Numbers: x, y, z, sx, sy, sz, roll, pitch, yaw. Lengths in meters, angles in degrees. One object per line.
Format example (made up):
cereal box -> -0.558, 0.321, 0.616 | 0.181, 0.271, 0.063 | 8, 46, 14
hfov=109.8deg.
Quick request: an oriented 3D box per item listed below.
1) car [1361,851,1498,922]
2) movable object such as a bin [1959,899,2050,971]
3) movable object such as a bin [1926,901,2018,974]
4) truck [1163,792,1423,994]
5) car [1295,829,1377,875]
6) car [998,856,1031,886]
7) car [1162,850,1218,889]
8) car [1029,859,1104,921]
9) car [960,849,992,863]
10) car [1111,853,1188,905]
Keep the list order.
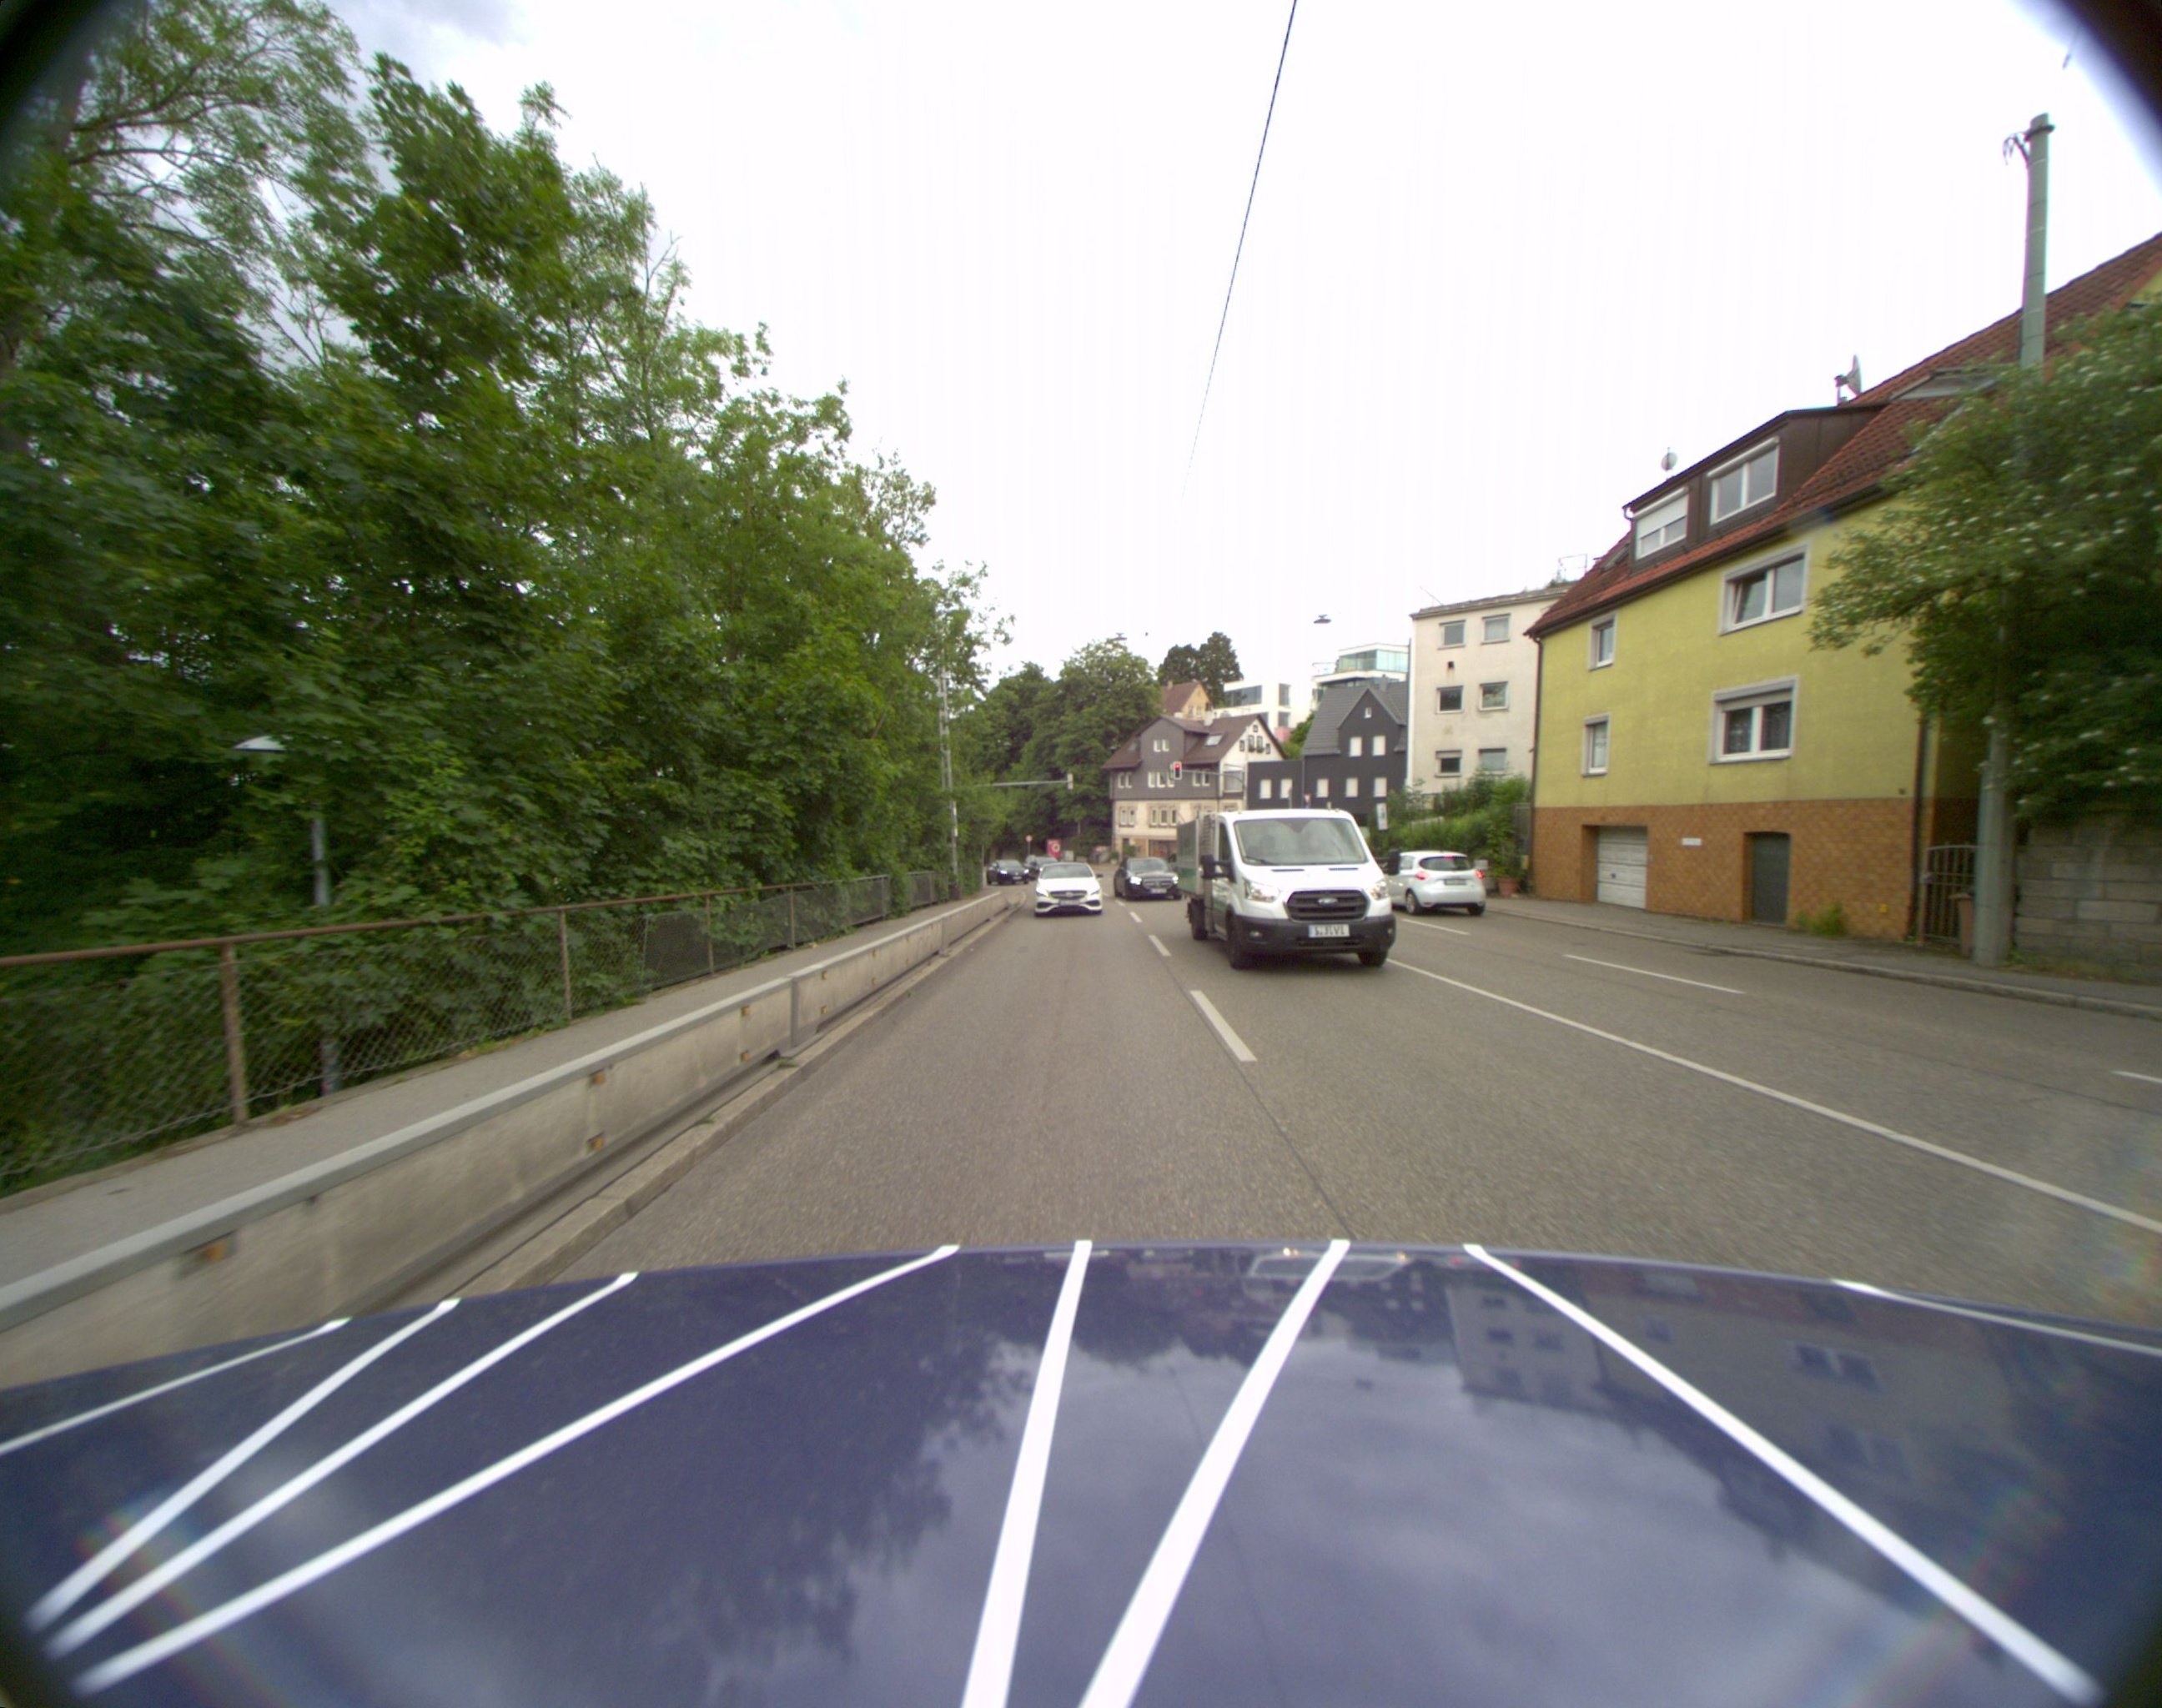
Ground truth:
car -> 8.799, 0.749, 19.605 | 1.748, 1.604, 4.056 | 1, 0, 2
movable object such as a bin -> 12.567, 1.088, 10.349 | 0.570, 0.880, 0.609 | -3, 1, -16
movable object such as a bin -> 12.032, 1.109, 10.276 | 0.570, 0.880, 0.609 | -2, 2, -16
truck -> 2.829, 0.440, 12.058 | 2.081, 2.307, 6.330 | -1, 0, -2
car -> 13.355, -0.130, 39.591 | 2.313, 1.703, 4.709 | -5, 3, 40
car -> -4.033, 0.974, 45.812 | 1.778, 1.533, 3.997 | -4, 2, -6
car -> 5.183, 0.693, 36.712 | 1.901, 1.685, 4.346 | -2, 1, -2
car -> -0.402, 0.917, 21.179 | 1.817, 1.391, 3.998 | -3, 1, -1
car -> -12.376, 0.263, 89.482 | 1.720, 1.520, 4.290 | -5, 2, -38
car -> 2.292, 0.813, 26.610 | 1.916, 1.472, 4.397 | -4, 2, -5
